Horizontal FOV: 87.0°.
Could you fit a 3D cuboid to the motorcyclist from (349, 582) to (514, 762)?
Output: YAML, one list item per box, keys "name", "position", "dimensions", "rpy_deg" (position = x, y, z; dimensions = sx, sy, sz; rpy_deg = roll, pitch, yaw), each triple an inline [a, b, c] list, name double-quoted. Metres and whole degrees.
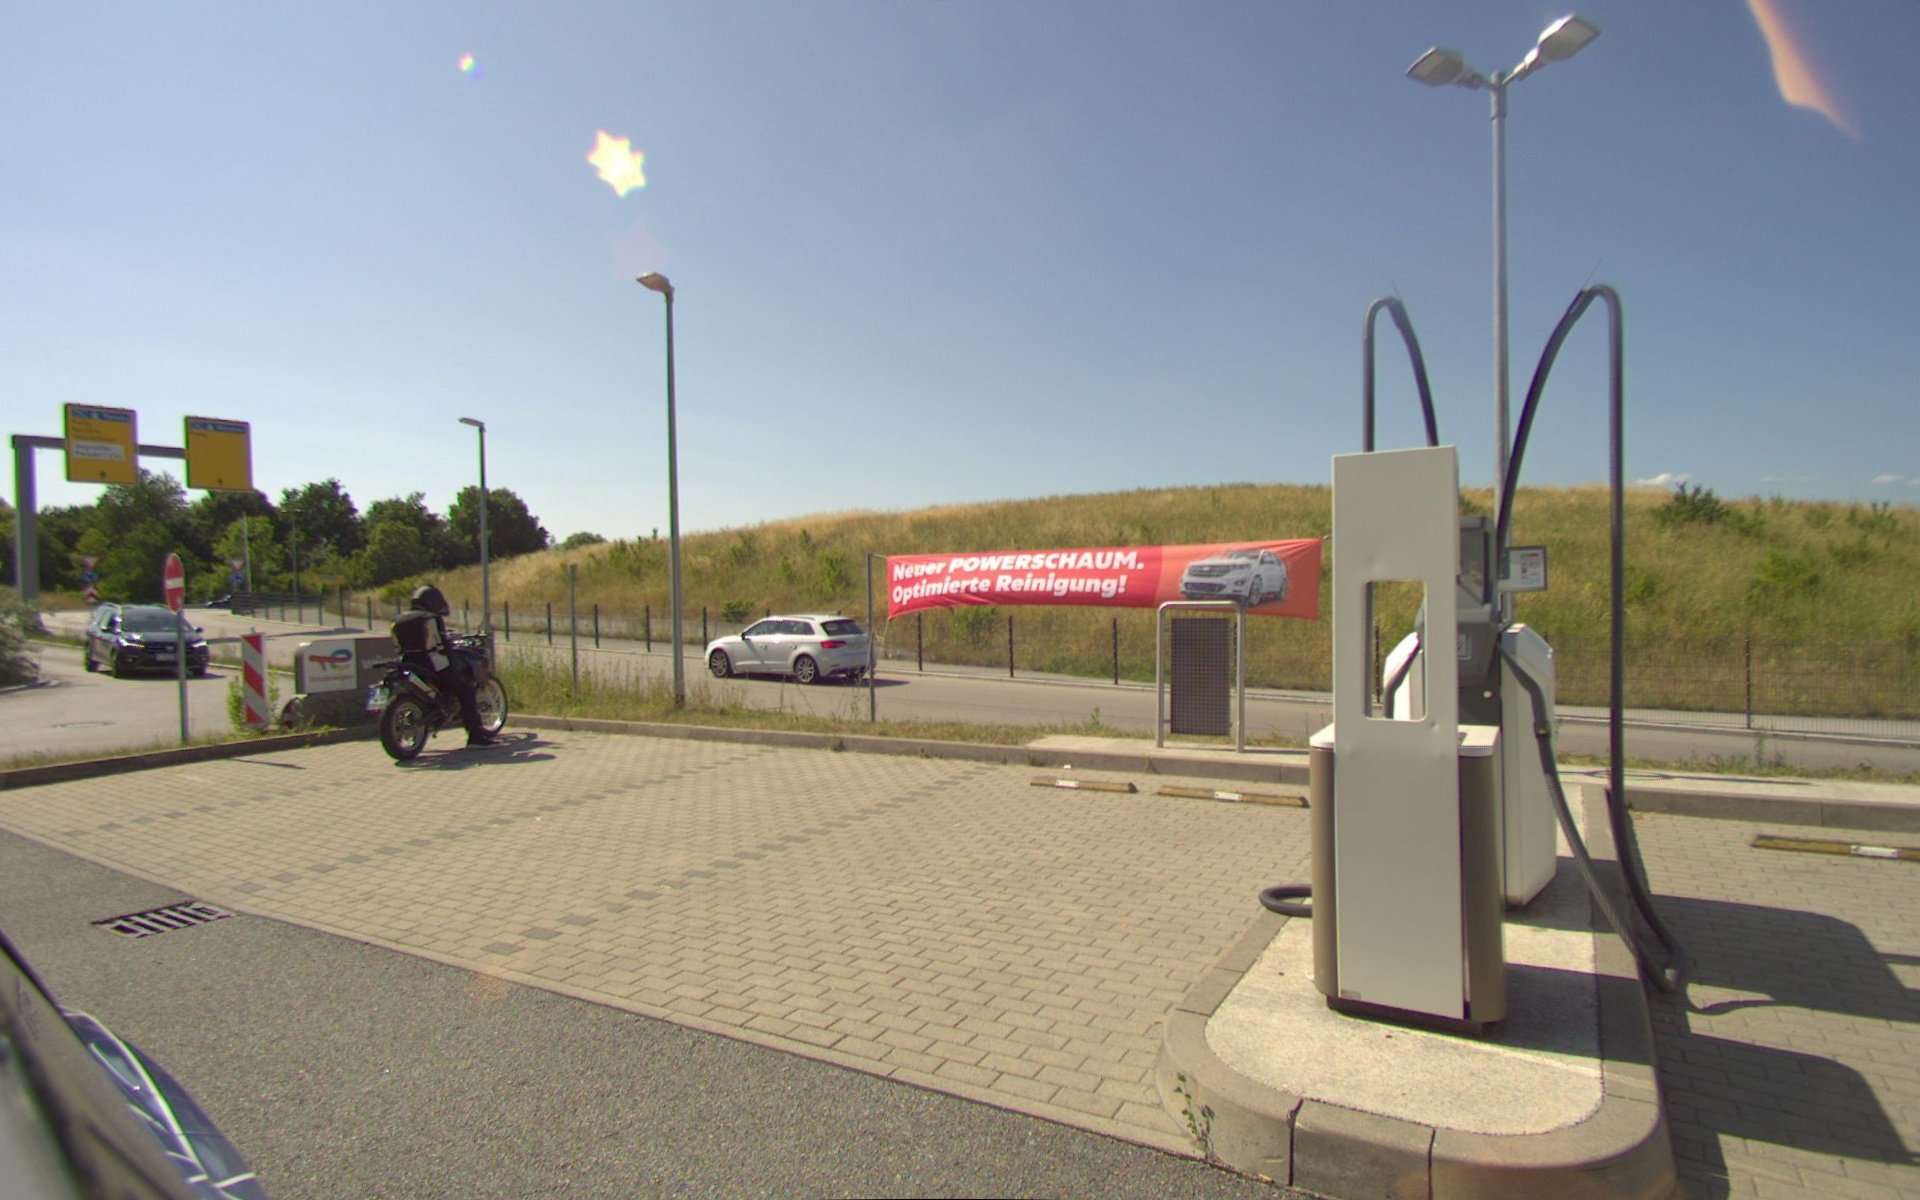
- name: "motorcyclist"
  position: [-5.289, 0.690, 10.199]
  dimensions: [1.022, 1.701, 1.096]
  rpy_deg: [-1, 0, 7]

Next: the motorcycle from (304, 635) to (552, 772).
- name: "motorcycle"
  position: [-5.269, 0.975, 10.289]
  dimensions: [1.033, 1.114, 2.411]
  rpy_deg: [-1, 1, 7]

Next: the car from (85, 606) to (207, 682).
- name: "car"
  position: [-19.894, 1.033, 24.653]
  dimensions: [4.632, 1.657, 1.719]
  rpy_deg: [-2, -1, 44]

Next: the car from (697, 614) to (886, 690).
- name: "car"
  position: [-3.735, 1.072, 22.191]
  dimensions: [4.084, 1.434, 1.687]
  rpy_deg: [0, 0, 34]
